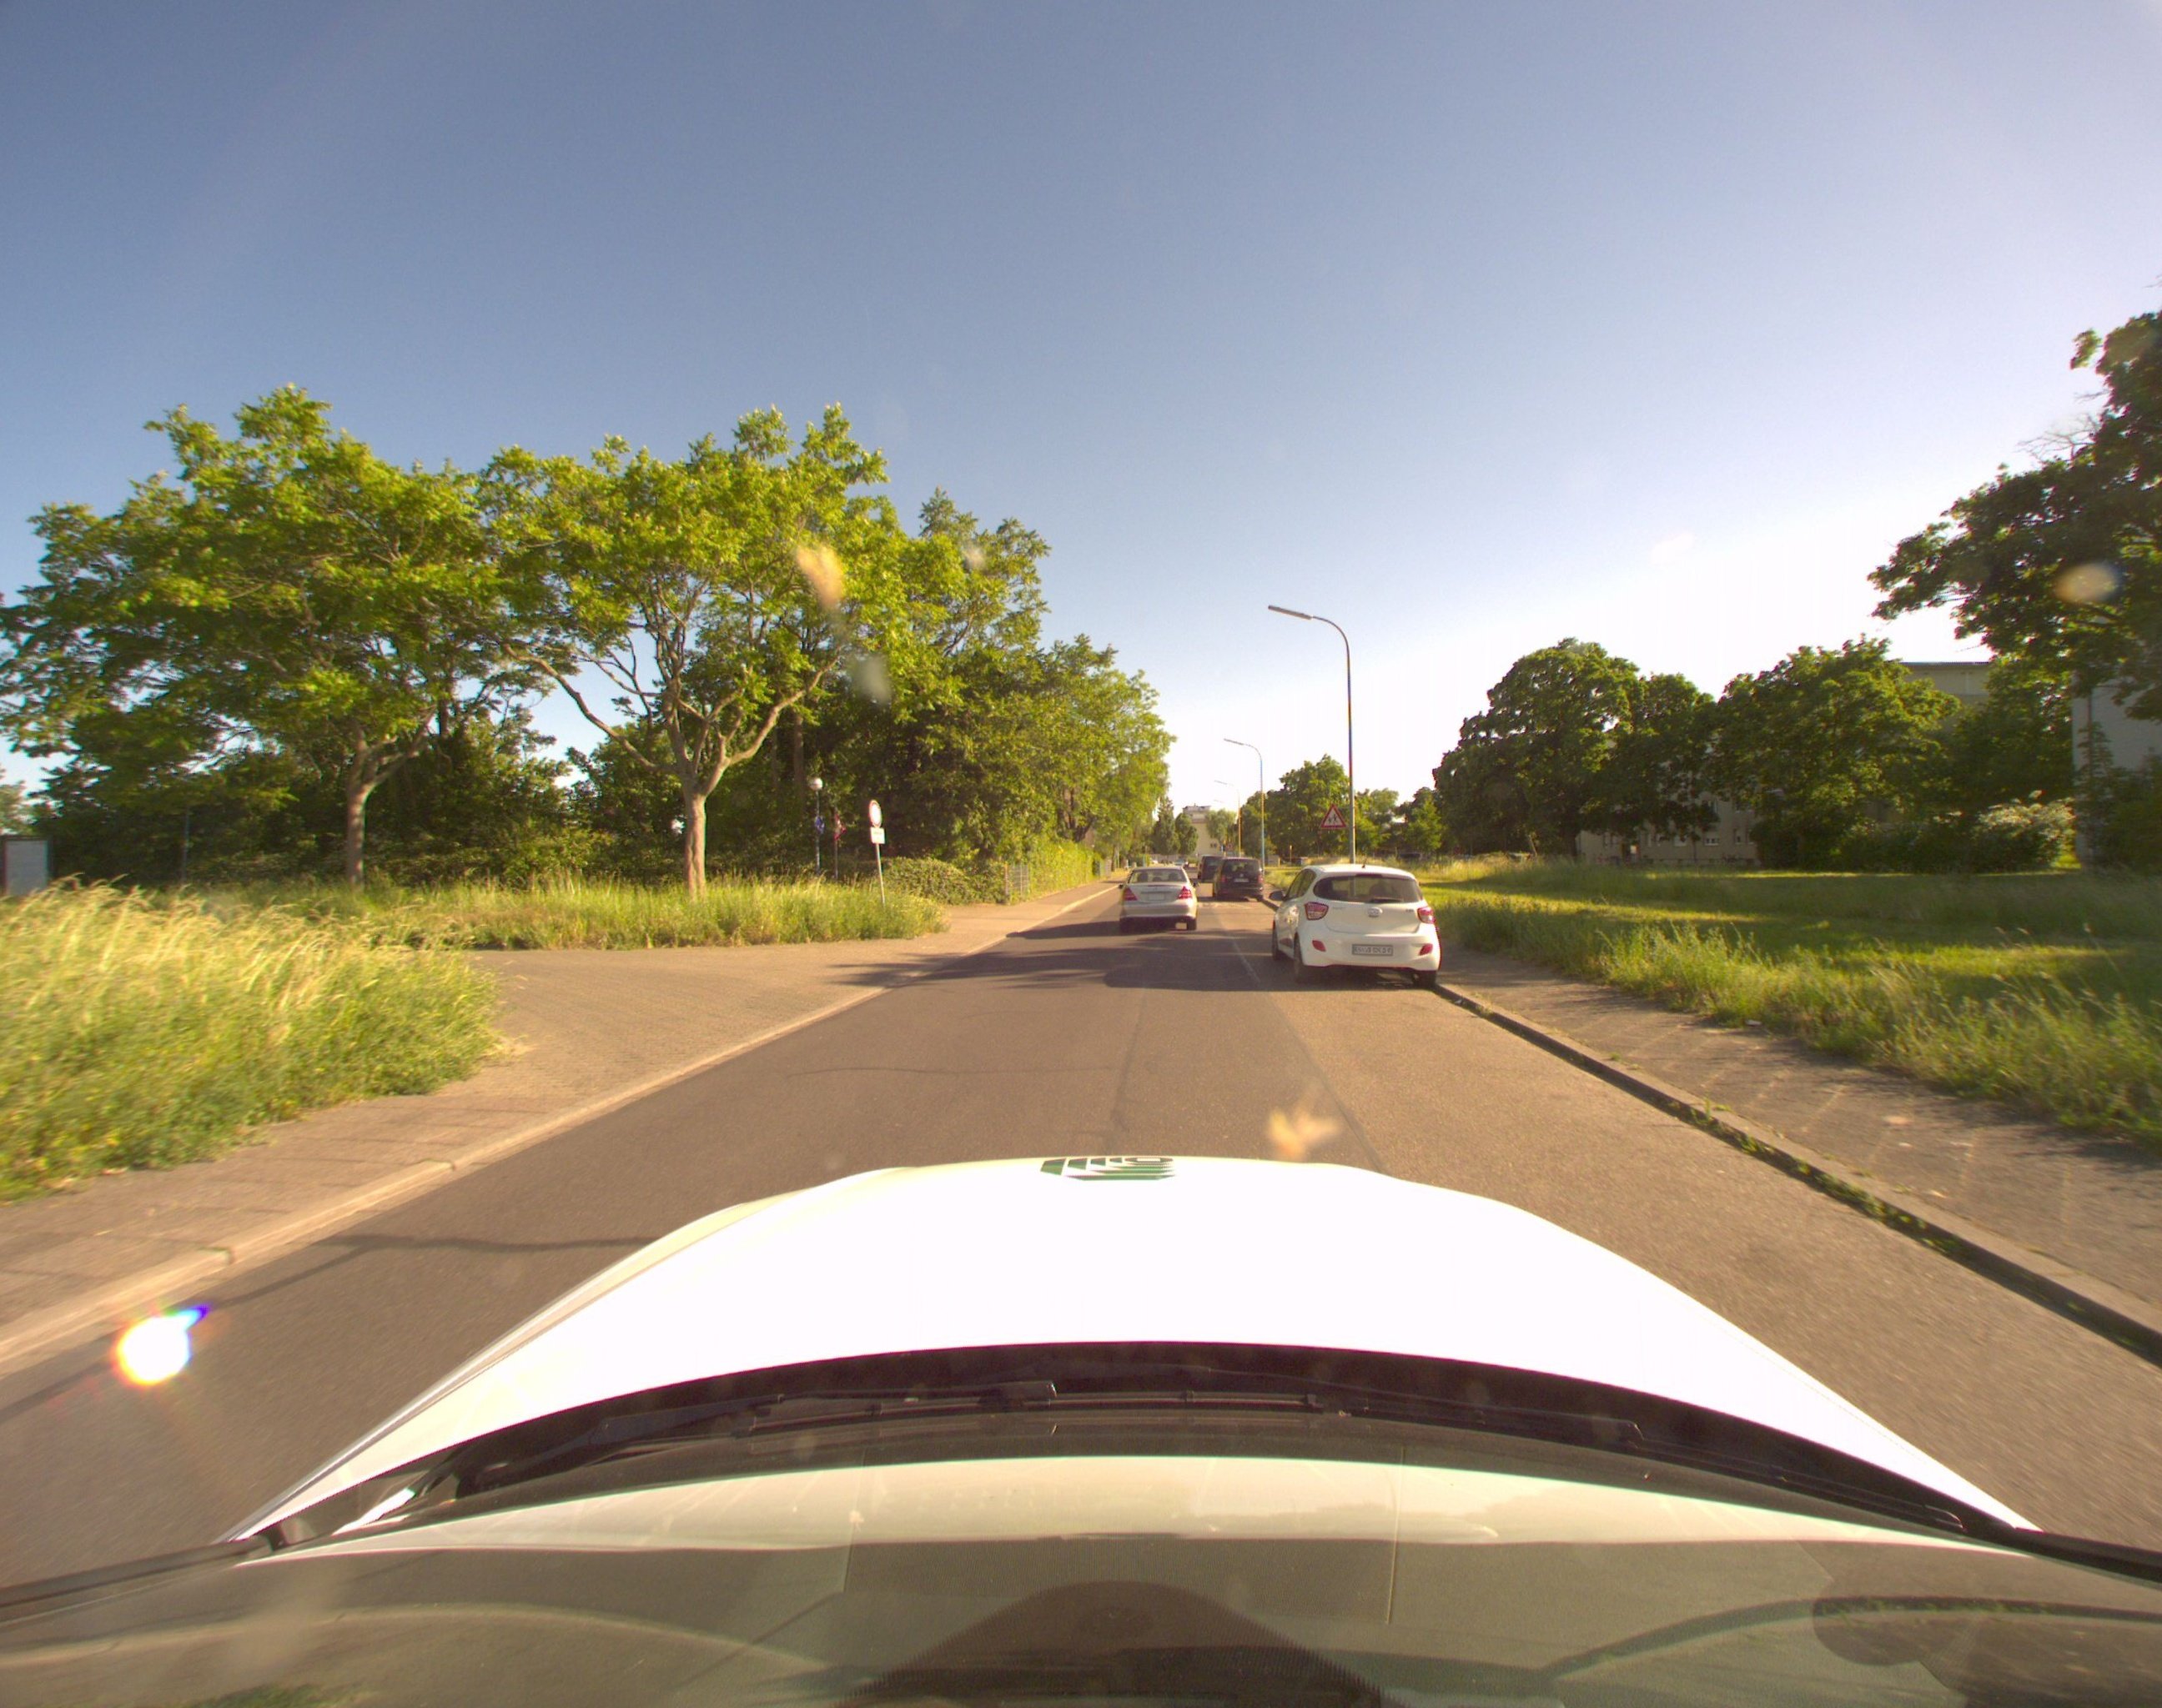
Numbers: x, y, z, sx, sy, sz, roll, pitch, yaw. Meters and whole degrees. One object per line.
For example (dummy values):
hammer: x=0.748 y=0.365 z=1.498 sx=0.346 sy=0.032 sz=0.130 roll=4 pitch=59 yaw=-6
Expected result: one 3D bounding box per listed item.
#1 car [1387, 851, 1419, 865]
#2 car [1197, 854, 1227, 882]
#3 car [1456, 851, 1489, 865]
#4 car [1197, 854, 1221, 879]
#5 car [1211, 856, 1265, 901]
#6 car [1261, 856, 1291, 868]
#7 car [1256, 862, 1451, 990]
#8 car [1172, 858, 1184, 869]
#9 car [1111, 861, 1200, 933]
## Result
car: x=41.060 y=0.565 z=103.863 sx=3.670 sy=1.618 sz=1.708 roll=-2 pitch=-3 yaw=22
car: x=8.541 y=0.867 z=53.370 sx=1.690 sy=1.759 sz=3.857 roll=1 pitch=0 yaw=6
car: x=51.675 y=0.525 z=107.527 sx=3.675 sy=1.618 sz=1.706 roll=-1 pitch=-3 yaw=16
car: x=10.002 y=0.951 z=63.697 sx=1.690 sy=1.851 sz=3.857 roll=1 pitch=0 yaw=6
car: x=5.995 y=0.900 z=31.517 sx=1.690 sy=1.610 sz=4.006 roll=0 pitch=0 yaw=5
car: x=26.017 y=1.098 z=108.869 sx=3.670 sy=1.442 sz=1.708 roll=-2 pitch=-3 yaw=22
car: x=3.604 y=0.867 z=11.456 sx=1.714 sy=1.479 sz=3.744 roll=1 pitch=-1 yaw=4
car: x=16.450 y=1.669 z=138.426 sx=1.875 sy=1.728 sz=4.006 roll=-1 pitch=-2 yaw=6
car: x=1.854 y=0.915 z=19.036 sx=1.806 sy=1.463 sz=4.370 roll=-1 pitch=-1 yaw=8
